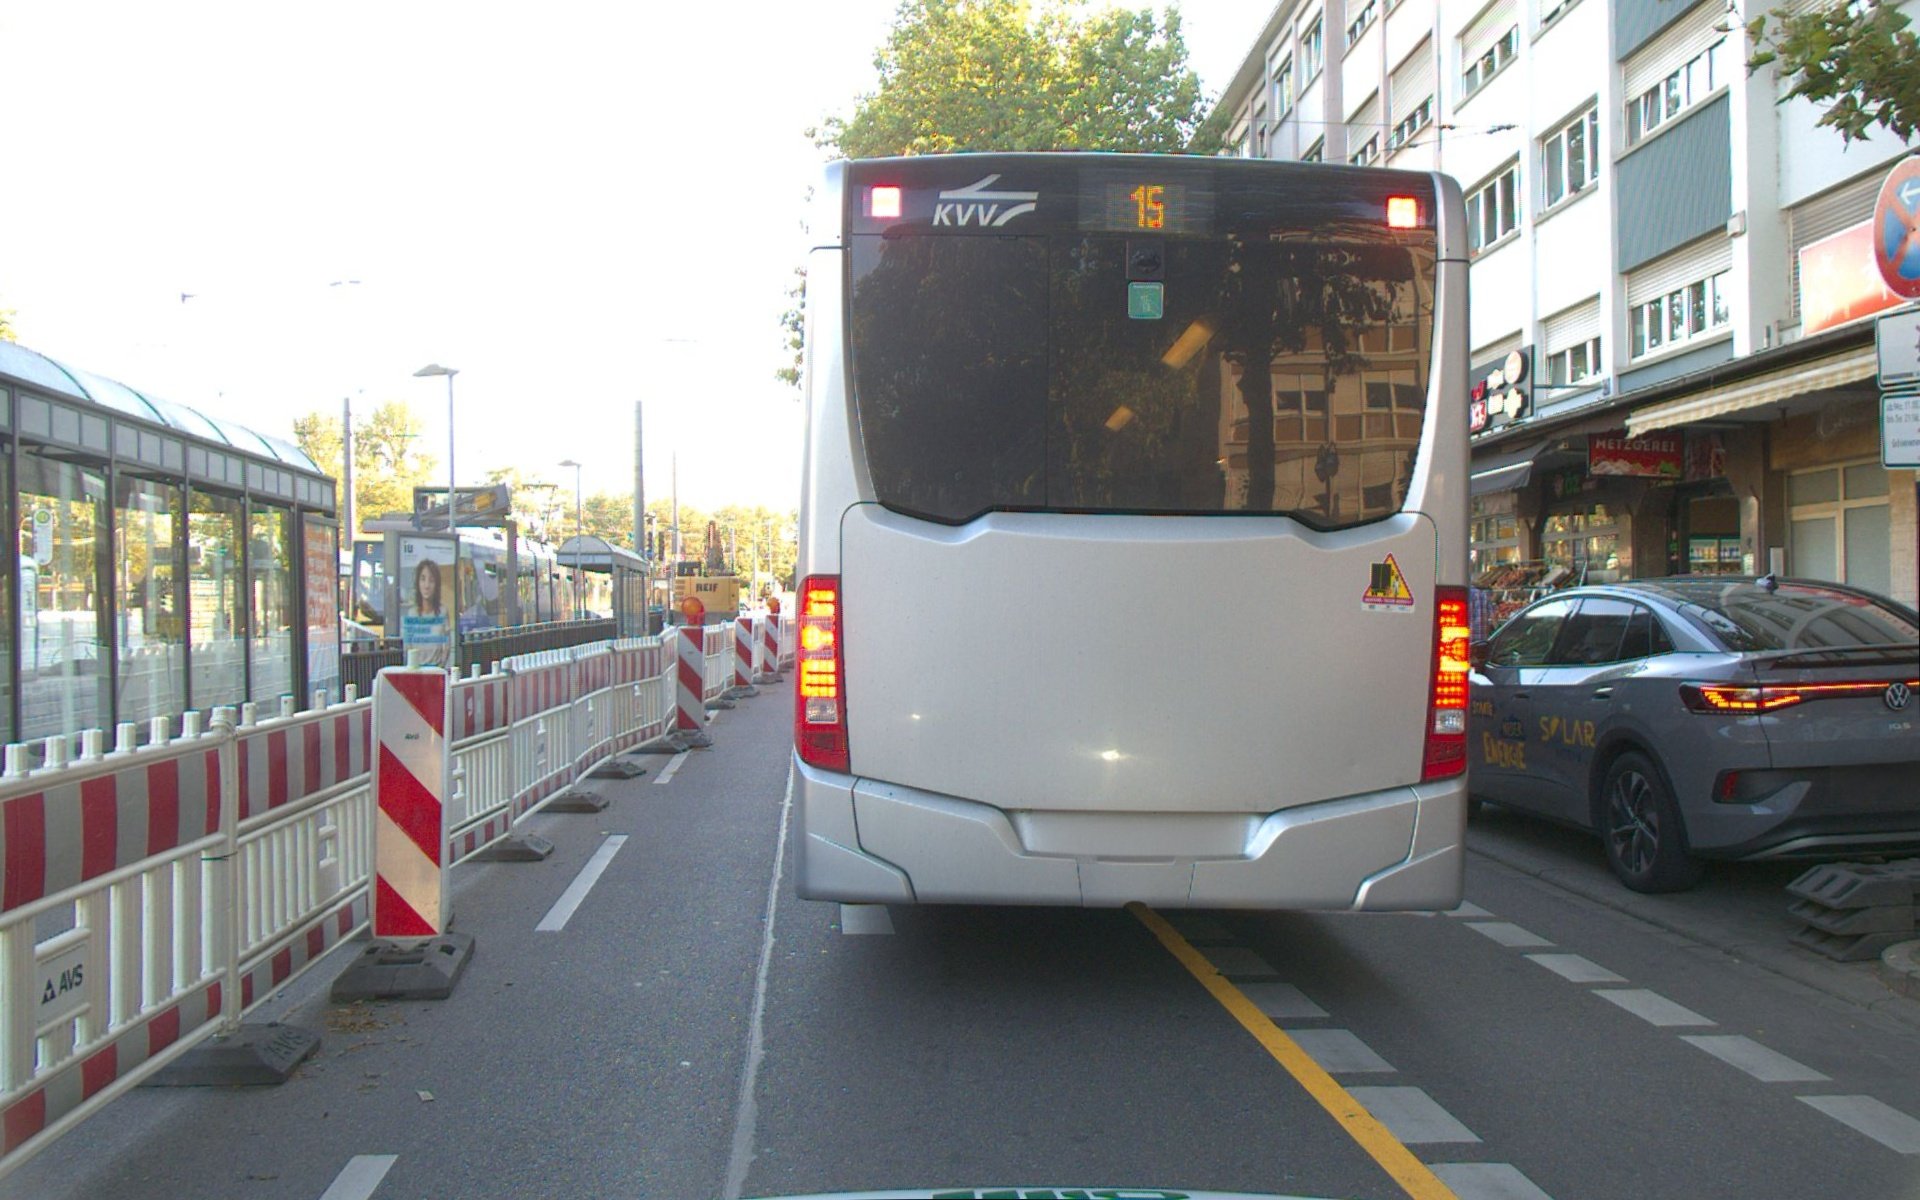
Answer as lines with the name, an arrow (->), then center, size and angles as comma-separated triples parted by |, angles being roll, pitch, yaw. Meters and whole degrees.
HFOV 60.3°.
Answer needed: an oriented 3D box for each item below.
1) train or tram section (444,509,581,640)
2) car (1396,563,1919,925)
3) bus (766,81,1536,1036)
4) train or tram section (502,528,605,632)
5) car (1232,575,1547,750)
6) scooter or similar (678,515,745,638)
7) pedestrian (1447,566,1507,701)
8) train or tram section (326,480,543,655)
train or tram section -> -13.791, -0.688, 51.892 | 2.636, 3.621, 11.560 | 1, 0, -8
car -> 4.368, 0.640, 9.926 | 1.955, 1.609, 4.363 | -3, 1, -5
bus -> 0.603, -0.125, 9.603 | 2.558, 3.181, 7.991 | 1, 0, -1
train or tram section -> -15.365, -0.680, 63.337 | 2.636, 3.594, 11.560 | 1, 0, -8
car -> 4.543, 0.591, 18.264 | 1.955, 1.609, 4.363 | -3, 1, -5
scooter or similar -> -9.636, -0.872, 64.371 | 2.422, 4.549, 5.962 | 0, 0, -8
pedestrian -> 6.669, 0.428, 21.362 | 0.649, 1.696, 0.601 | -2, -1, 15
train or tram section -> -12.422, -0.650, 40.333 | 2.635, 3.595, 11.756 | 1, 0, -6
